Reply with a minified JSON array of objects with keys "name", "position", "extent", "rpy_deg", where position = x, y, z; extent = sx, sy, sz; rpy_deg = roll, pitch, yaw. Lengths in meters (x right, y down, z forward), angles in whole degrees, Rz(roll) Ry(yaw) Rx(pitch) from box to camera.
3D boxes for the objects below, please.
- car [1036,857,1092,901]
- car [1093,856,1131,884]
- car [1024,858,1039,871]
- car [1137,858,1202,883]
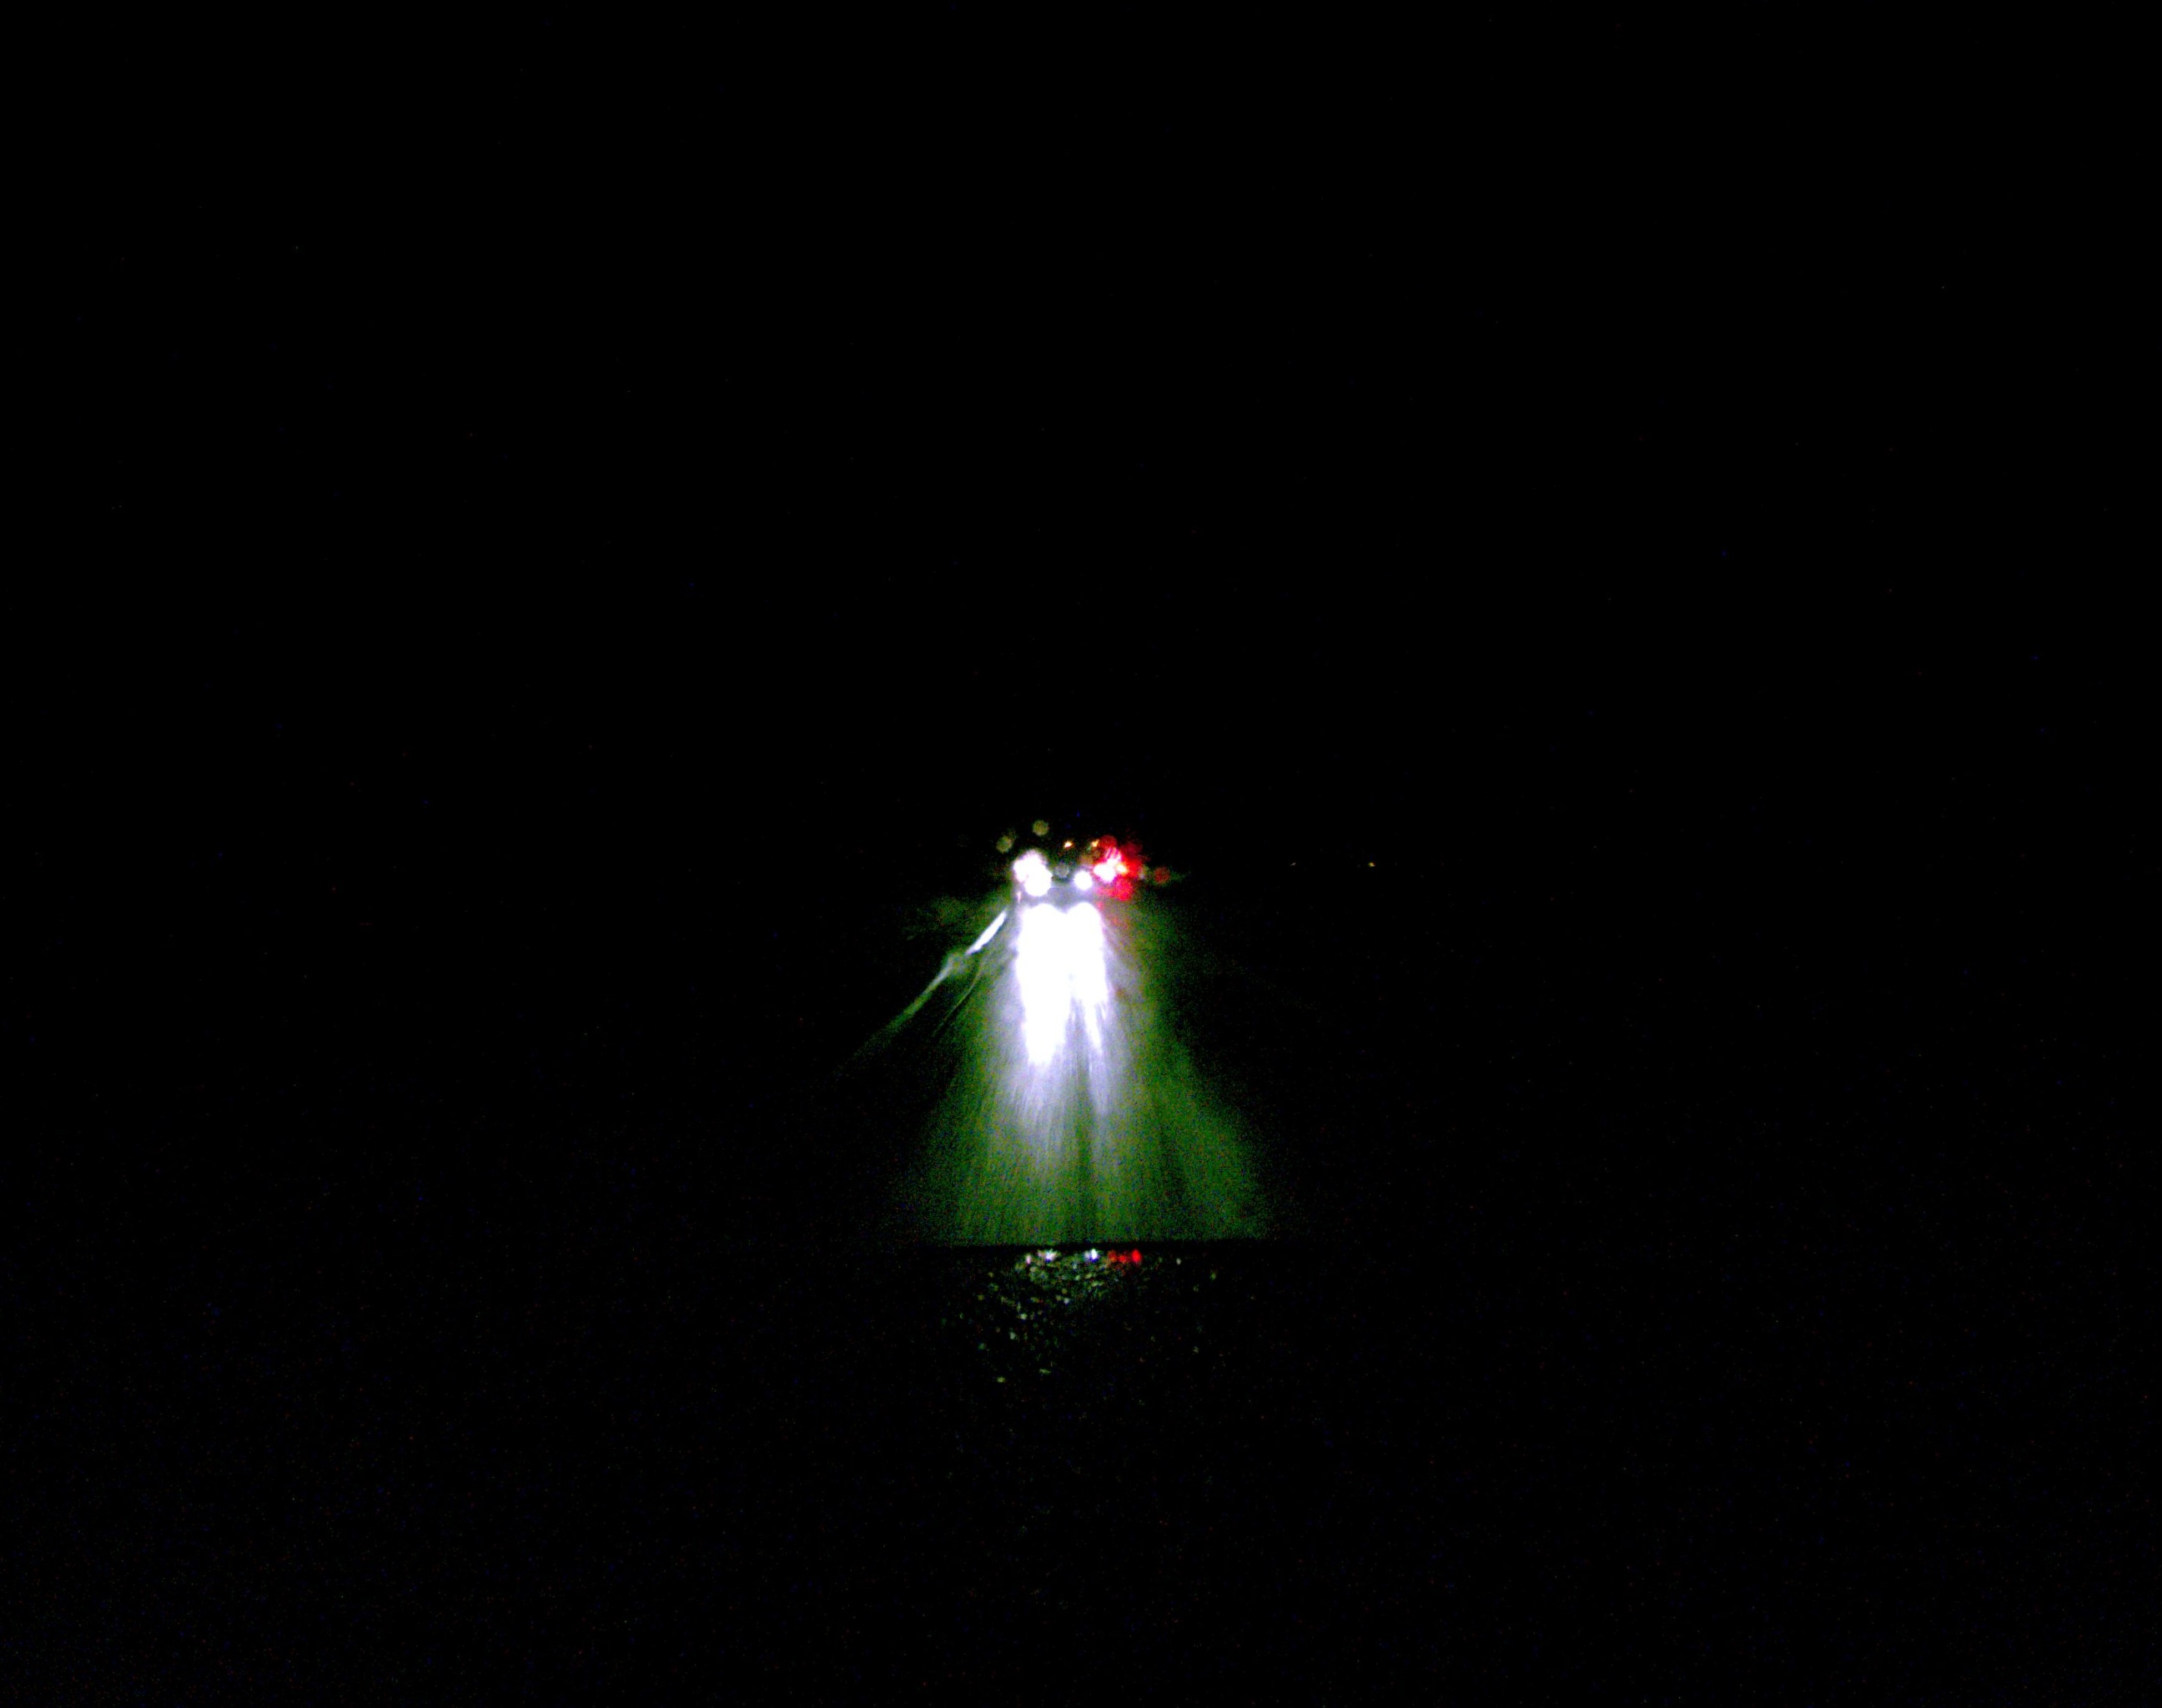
[{"name":"car","position":[-0.713,0.893,28.978],"extent":[1.902,1.552,3.998],"rpy_deg":[1,0,-4]},{"name":"car","position":[1.779,0.932,44.663],"extent":[1.770,1.533,4.147],"rpy_deg":[-1,-1,-4]},{"name":"car","position":[-6.307,1.271,96.628],"extent":[1.902,1.552,3.998],"rpy_deg":[1,0,-4]},{"name":"car","position":[7.269,1.328,62.650],"extent":[4.948,1.827,1.933],"rpy_deg":[3,0,-3]}]
